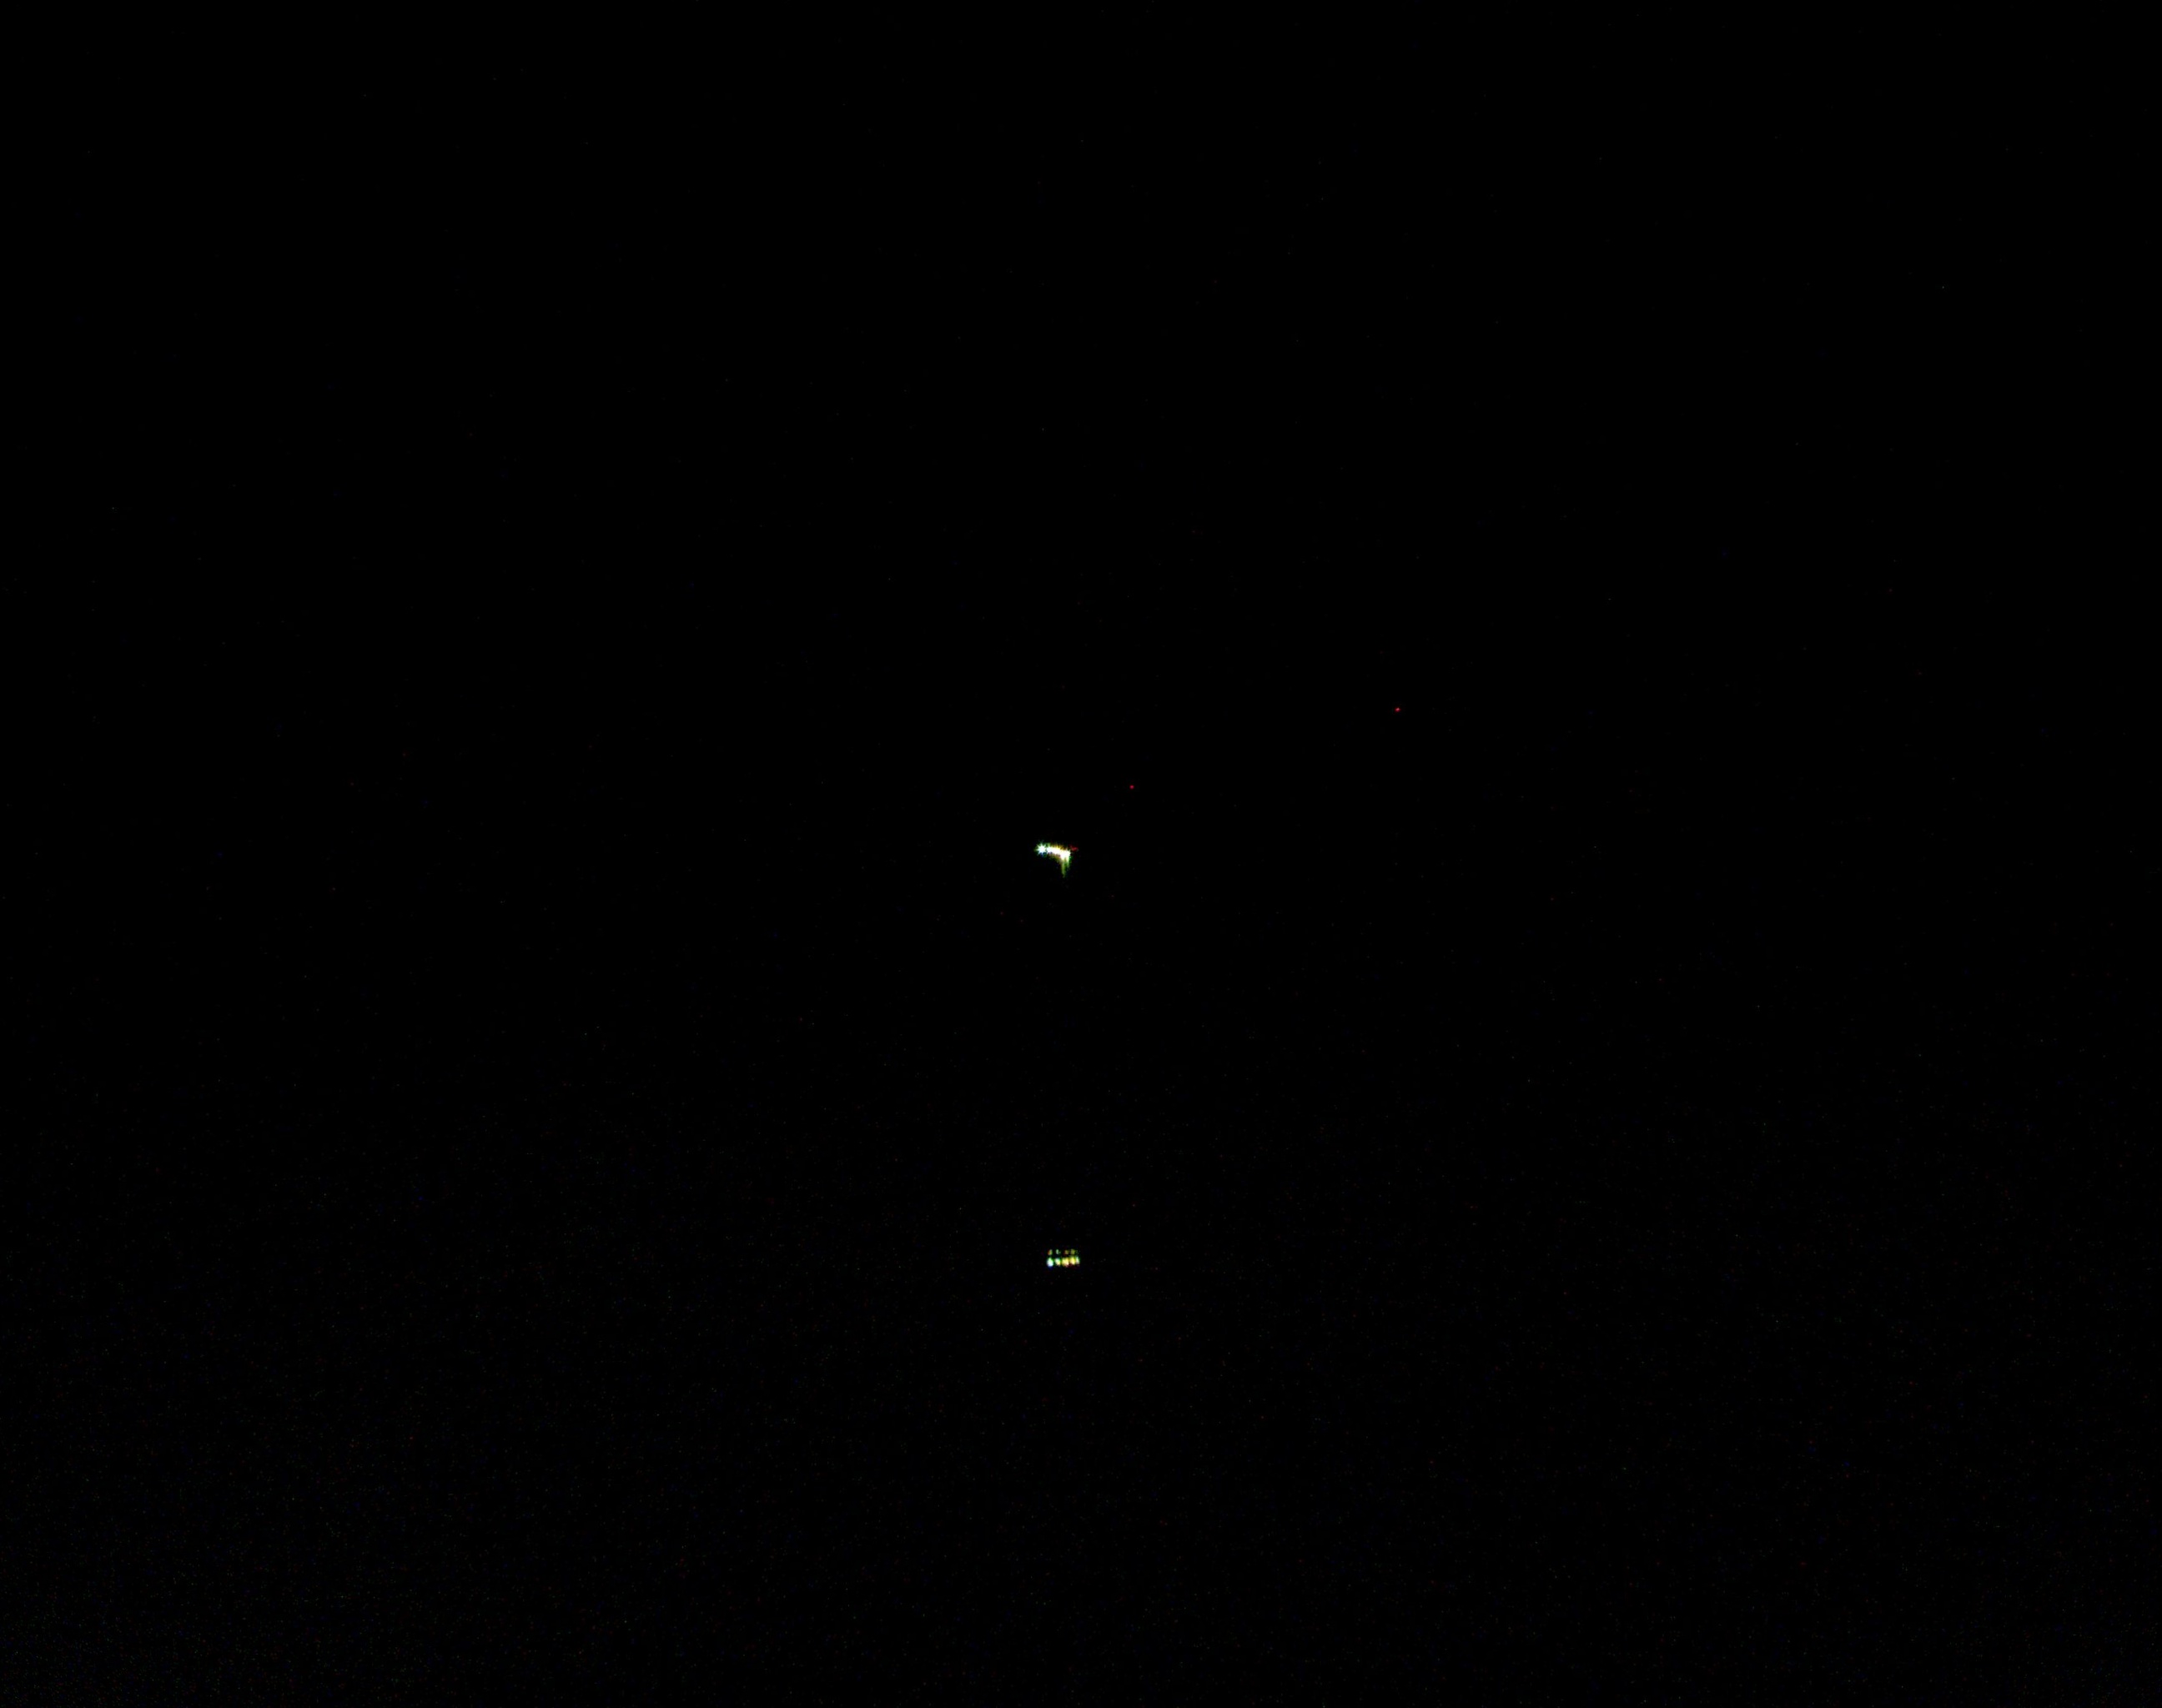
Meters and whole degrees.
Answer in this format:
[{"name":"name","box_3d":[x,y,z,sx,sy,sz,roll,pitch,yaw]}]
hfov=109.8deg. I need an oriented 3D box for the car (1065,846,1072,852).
[{"name":"car","box_3d":[-3.925,-1.647,239.231,1.860,1.609,3.998,-2,1,-3]}]
